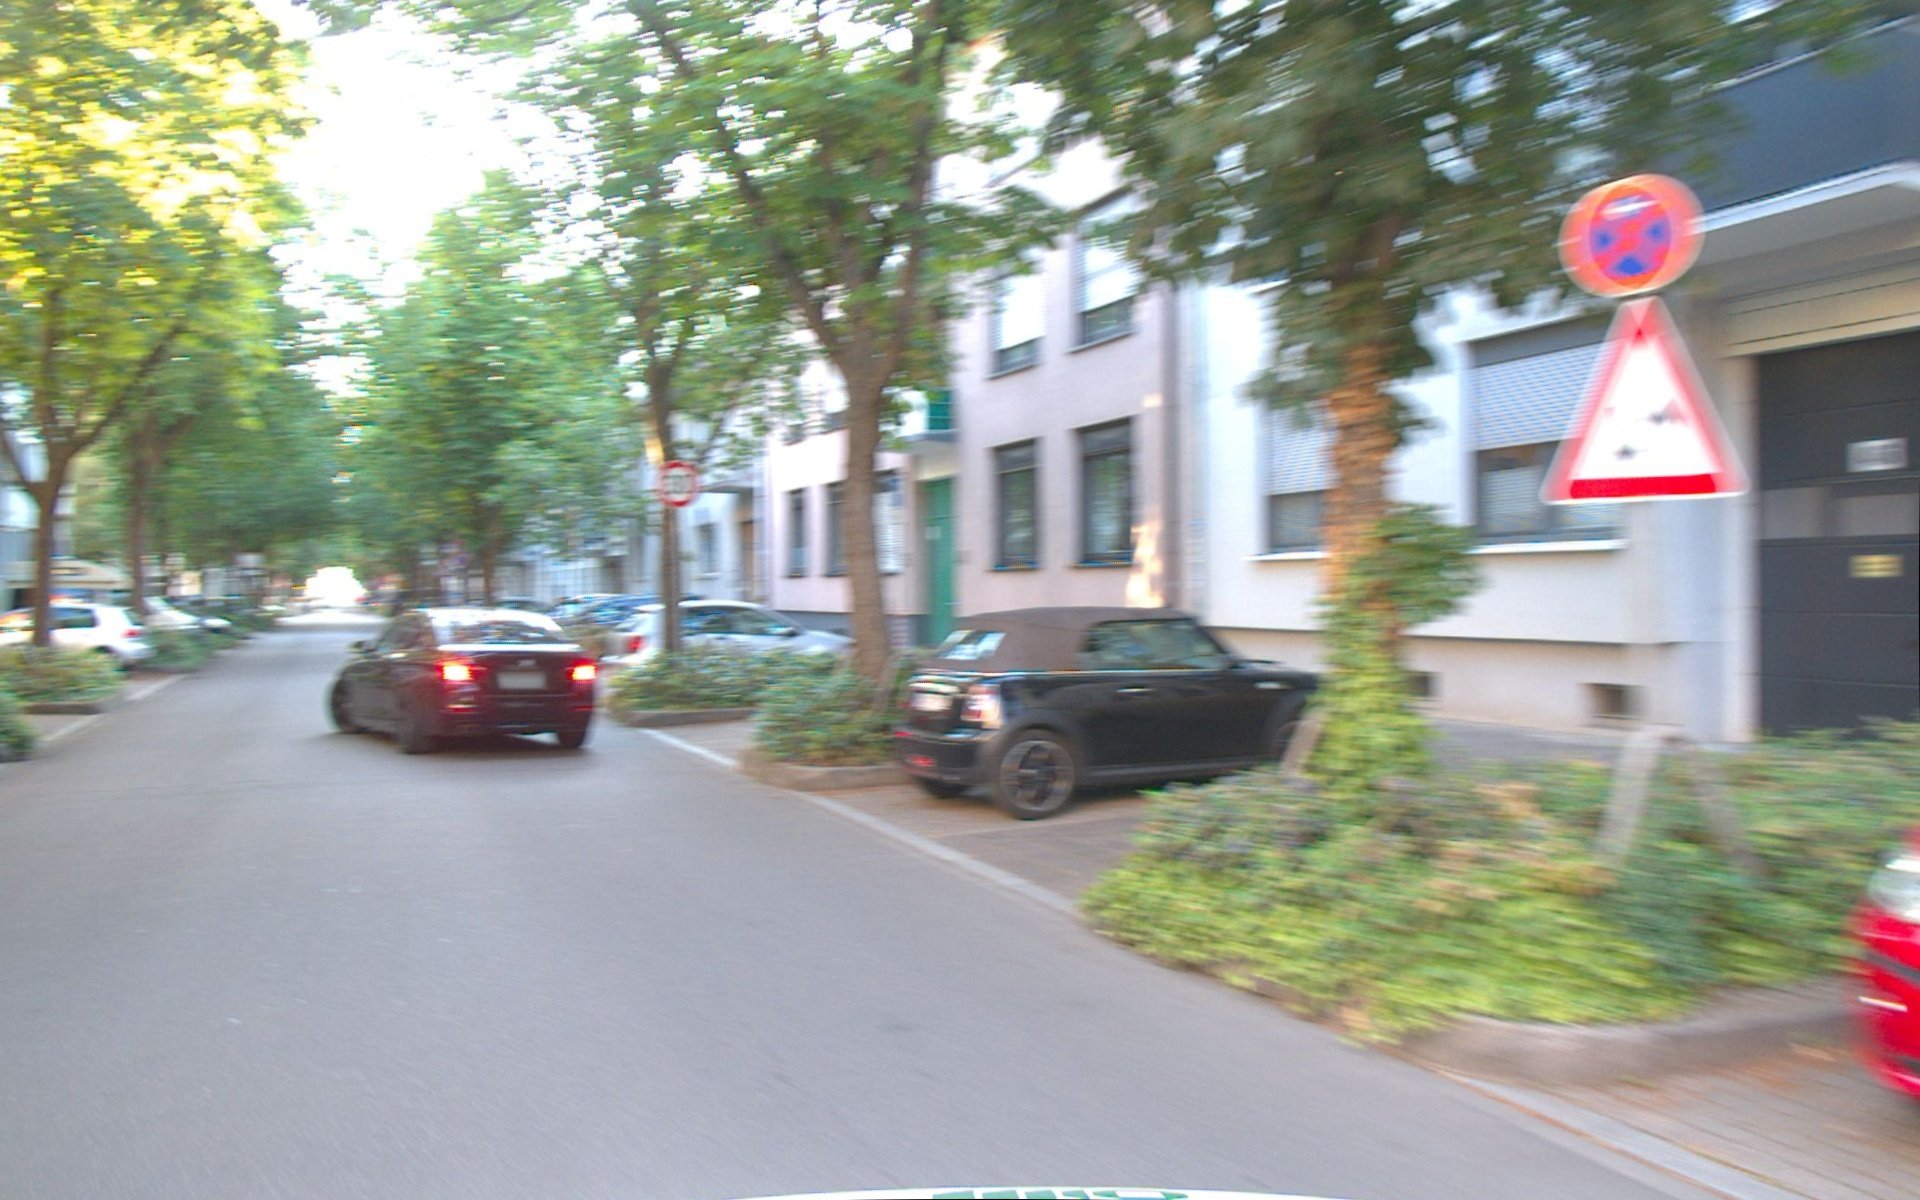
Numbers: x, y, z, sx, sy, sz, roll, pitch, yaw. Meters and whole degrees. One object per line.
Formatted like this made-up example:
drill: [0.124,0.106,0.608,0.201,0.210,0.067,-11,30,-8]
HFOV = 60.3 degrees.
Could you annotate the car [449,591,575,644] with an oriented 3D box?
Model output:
car: [-13.981,0.525,51.627,3.608,1.563,1.554,-1,0,-24]

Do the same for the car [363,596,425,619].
car: [-35.306,0.452,103.163,3.608,1.417,1.554,-1,0,-24]

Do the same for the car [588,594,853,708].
car: [-3.540,0.709,24.476,3.608,1.505,1.554,-1,1,-24]

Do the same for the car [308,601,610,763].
car: [-5.488,0.762,17.699,1.748,1.475,4.610,0,0,-35]

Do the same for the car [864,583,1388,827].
car: [1.281,0.693,12.610,3.659,1.452,1.613,-3,1,-27]

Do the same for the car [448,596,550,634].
car: [-17.710,0.563,63.579,3.608,1.417,1.554,-1,0,-24]

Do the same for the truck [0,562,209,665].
truck: [-21.541,0.322,41.285,4.926,2.483,1.904,1,1,-21]

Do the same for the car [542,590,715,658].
car: [-7.552,0.527,37.657,3.608,1.417,1.554,-1,1,-24]

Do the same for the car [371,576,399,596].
car: [-45.878,-1.100,132.031,1.965,1.579,3.974,0,0,-21]

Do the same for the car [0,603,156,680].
car: [-18.612,0.824,33.459,4.074,1.497,1.629,1,0,-22]

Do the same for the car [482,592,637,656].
car: [-10.493,0.603,43.361,3.742,1.556,1.554,-1,1,-24]

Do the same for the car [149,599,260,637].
car: [-30.621,0.744,67.158,3.965,1.497,1.629,1,0,-22]

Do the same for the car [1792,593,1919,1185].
car: [4.247,0.702,4.566,3.607,1.501,1.554,-1,1,-24]

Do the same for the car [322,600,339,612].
car: [-75.895,0.726,199.527,1.867,1.500,3.976,0,0,-20]
